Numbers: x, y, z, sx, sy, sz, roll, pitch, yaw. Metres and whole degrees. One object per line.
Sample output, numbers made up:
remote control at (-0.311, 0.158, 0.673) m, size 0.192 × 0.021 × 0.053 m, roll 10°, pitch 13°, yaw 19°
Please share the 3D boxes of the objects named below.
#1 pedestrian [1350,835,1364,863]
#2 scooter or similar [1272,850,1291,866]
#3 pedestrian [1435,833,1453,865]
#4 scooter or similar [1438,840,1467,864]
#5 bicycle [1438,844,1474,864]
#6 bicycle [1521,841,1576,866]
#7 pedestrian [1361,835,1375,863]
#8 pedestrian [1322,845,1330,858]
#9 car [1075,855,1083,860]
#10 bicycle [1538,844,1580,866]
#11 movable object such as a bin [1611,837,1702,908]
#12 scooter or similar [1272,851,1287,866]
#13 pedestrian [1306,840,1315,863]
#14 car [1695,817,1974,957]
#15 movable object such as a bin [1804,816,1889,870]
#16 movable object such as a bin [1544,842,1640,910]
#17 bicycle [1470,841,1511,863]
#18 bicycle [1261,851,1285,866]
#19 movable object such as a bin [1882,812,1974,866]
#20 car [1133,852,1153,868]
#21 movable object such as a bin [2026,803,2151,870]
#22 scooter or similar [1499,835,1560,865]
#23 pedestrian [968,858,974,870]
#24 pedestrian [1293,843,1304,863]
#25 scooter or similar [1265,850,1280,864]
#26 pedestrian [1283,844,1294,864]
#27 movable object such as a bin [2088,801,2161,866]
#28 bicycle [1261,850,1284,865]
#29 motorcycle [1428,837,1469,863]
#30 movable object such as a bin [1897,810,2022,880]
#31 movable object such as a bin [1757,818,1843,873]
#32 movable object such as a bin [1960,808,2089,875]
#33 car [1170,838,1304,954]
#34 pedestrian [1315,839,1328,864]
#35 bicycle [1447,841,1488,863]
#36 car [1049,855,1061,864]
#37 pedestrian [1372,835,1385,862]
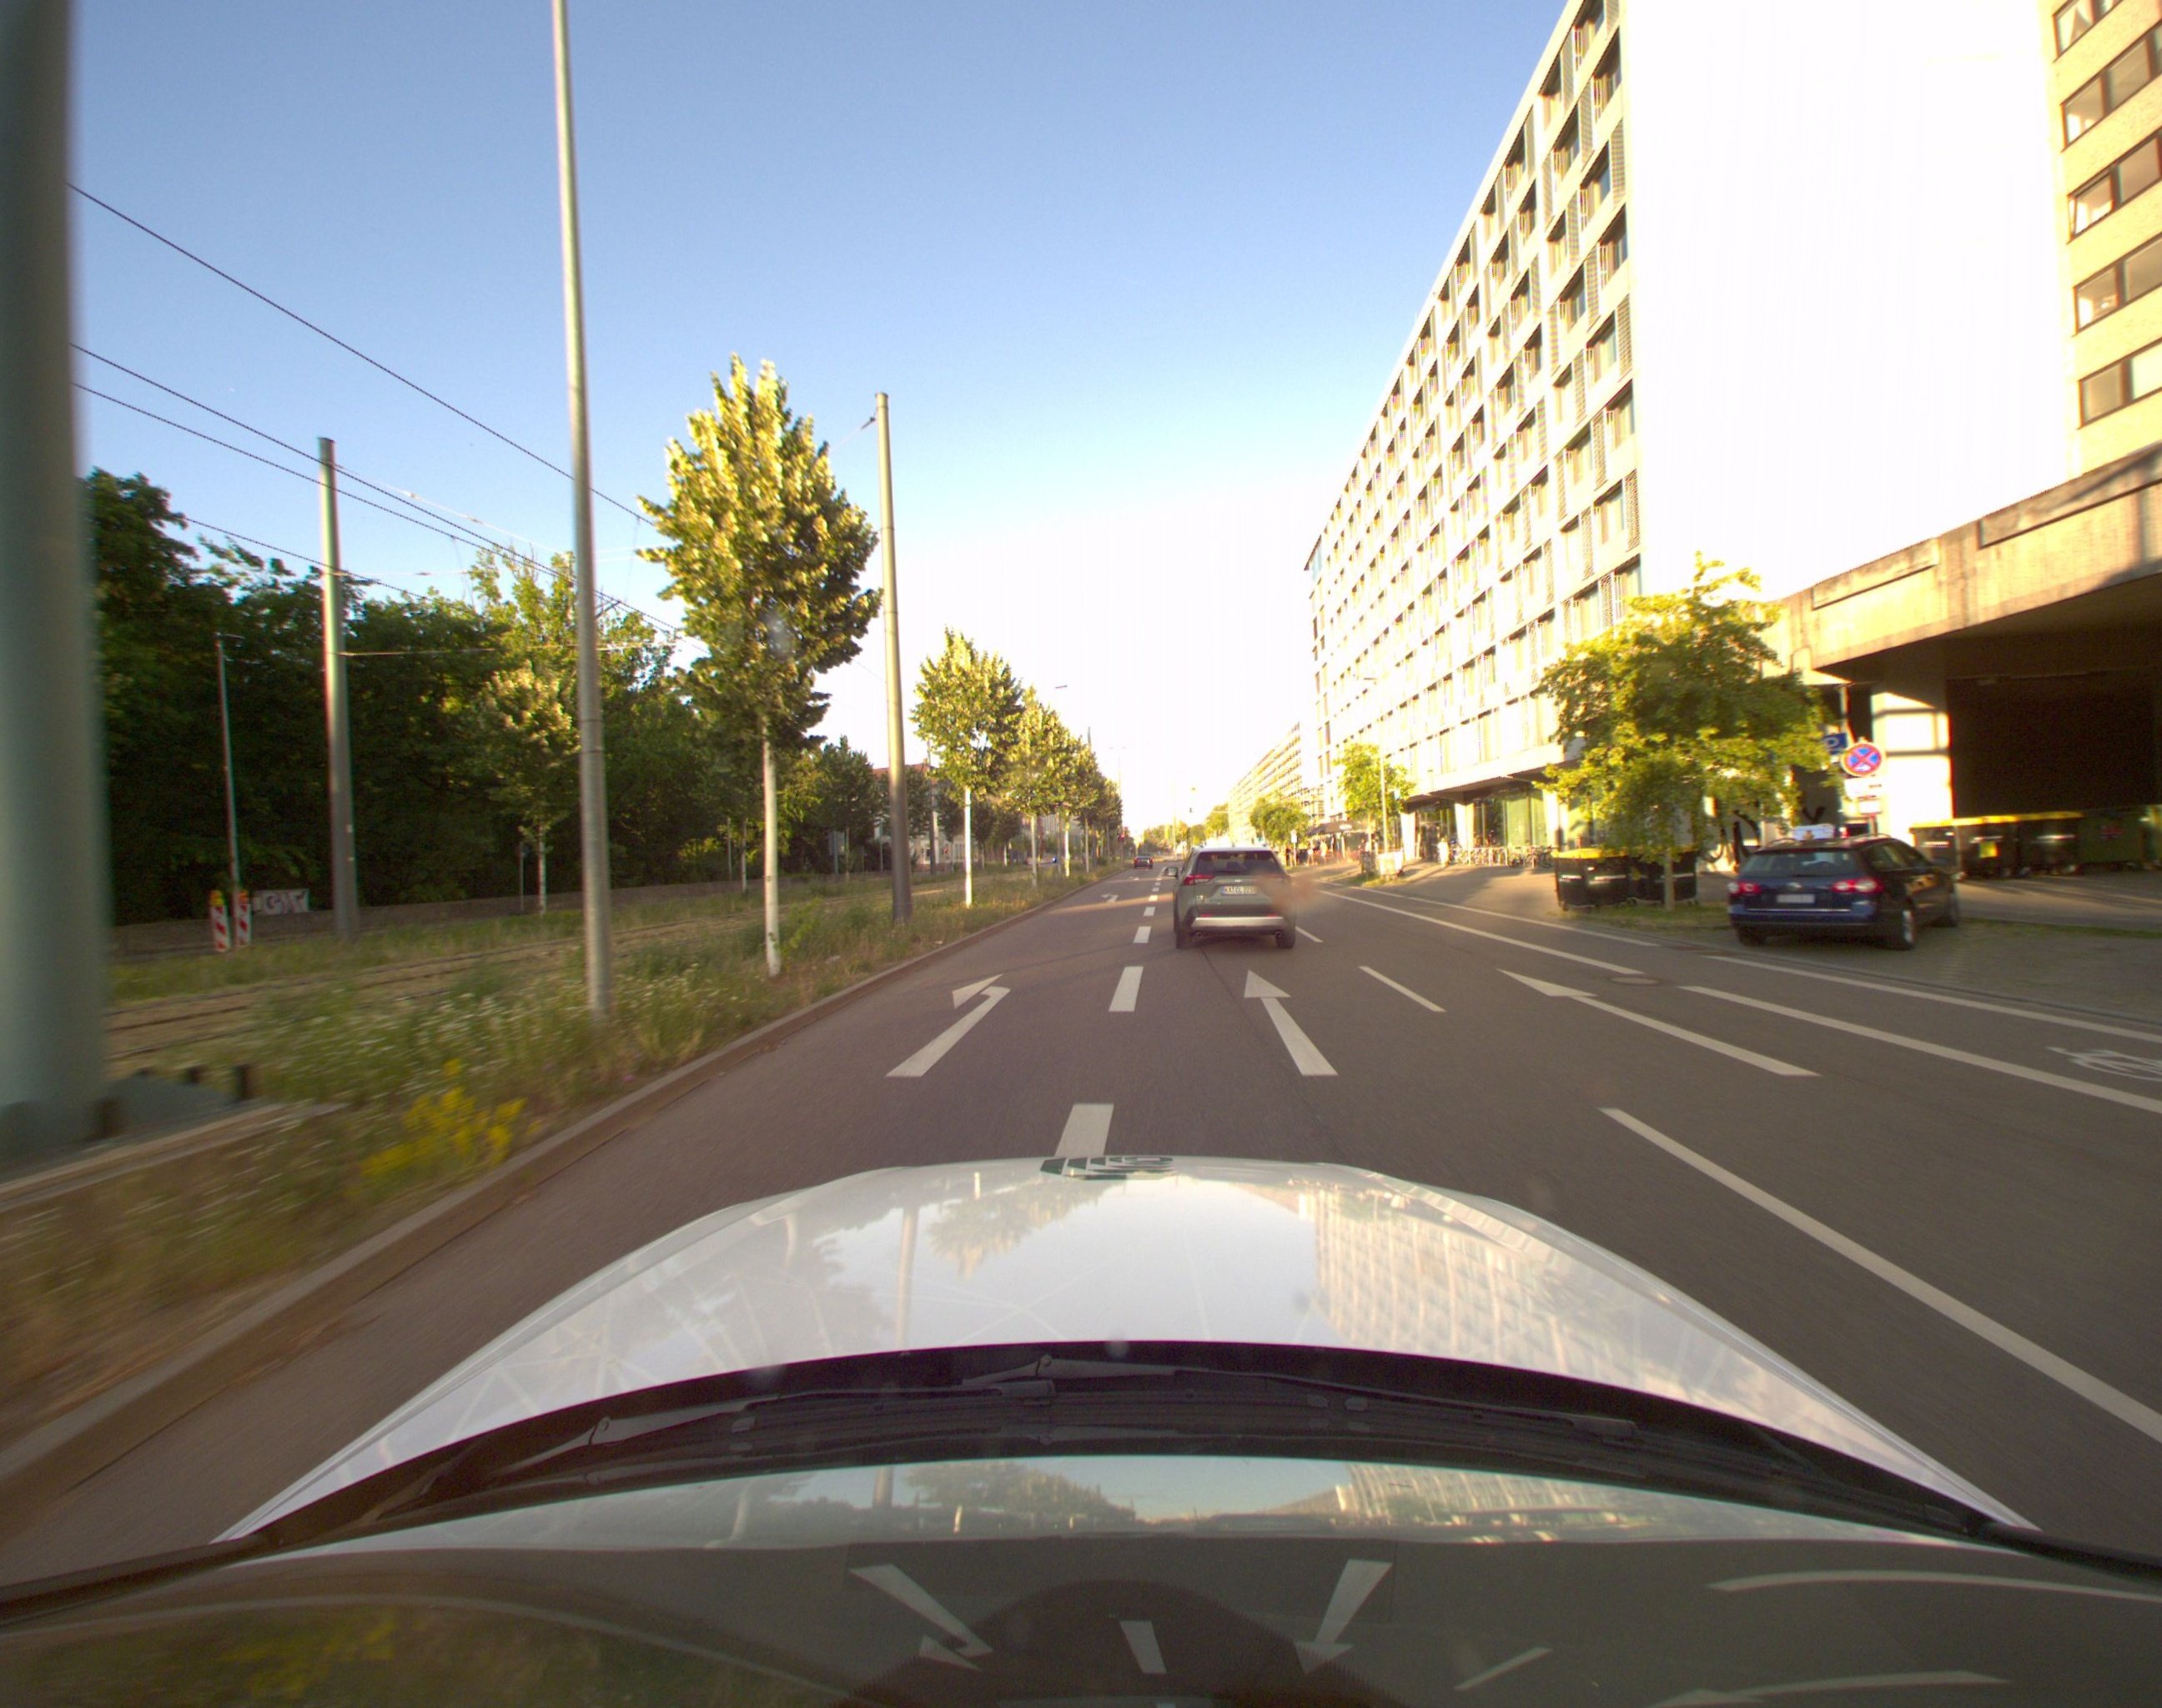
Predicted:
pedestrian at (19.023, -0.323, 56.108) m, size 0.738 × 1.849 × 0.944 m, roll -5°, pitch -1°, yaw 15°
scooter or similar at (16.700, 0.360, 67.835) m, size 1.280 × 1.218 × 0.539 m, roll -5°, pitch -1°, yaw 29°
pedestrian at (18.879, -0.279, 42.387) m, size 0.574 × 1.619 × 0.643 m, roll -4°, pitch 0°, yaw 3°
scooter or similar at (20.538, -0.132, 45.074) m, size 1.263 × 1.233 × 0.609 m, roll -4°, pitch 0°, yaw 1°
bicycle at (21.021, 0.020, 45.673) m, size 1.693 × 0.986 × 0.551 m, roll -4°, pitch 0°, yaw 2°
bicycle at (20.597, -0.038, 35.902) m, size 2.009 × 0.957 × 0.620 m, roll -4°, pitch 0°, yaw -1°
pedestrian at (19.712, -0.351, 55.958) m, size 0.751 × 1.824 × 0.944 m, roll -4°, pitch -1°, yaw 15°
pedestrian at (26.421, -0.285, 87.852) m, size 0.739 × 1.319 × 0.718 m, roll -5°, pitch -1°, yaw 18°
car at (-0.617, 1.030, 223.634) m, size 1.648 × 1.431 × 3.903 m, roll 0°, pitch 0°, yaw 8°
bicycle at (20.079, 0.042, 34.212) m, size 1.415 × 0.891 × 0.458 m, roll -3°, pitch 0°, yaw 5°
movable object such as a bin at (12.090, 0.370, 17.150) m, size 1.010 × 1.347 × 1.161 m, roll -5°, pitch 0°, yaw 1°
scooter or similar at (16.850, 0.402, 69.228) m, size 1.118 × 1.213 × 0.534 m, roll -5°, pitch -2°, yaw 21°
pedestrian at (18.080, -0.175, 64.132) m, size 0.572 × 1.786 × 0.832 m, roll -4°, pitch -2°, yaw 13°
car at (11.150, 0.386, 11.955) m, size 4.689 × 1.508 × 1.919 m, roll -4°, pitch 0°, yaw -34°
movable object such as a bin at (20.108, -0.277, 21.432) m, size 1.069 × 1.329 × 1.204 m, roll -3°, pitch 0°, yaw 5°
movable object such as a bin at (10.730, 0.445, 17.177) m, size 1.081 × 1.301 × 1.360 m, roll -4°, pitch 0°, yaw -1°
bicycle at (20.571, -0.096, 40.896) m, size 1.693 × 0.986 × 0.551 m, roll -4°, pitch 0°, yaw 2°
bicycle at (16.803, 0.409, 71.332) m, size 1.838 × 1.182 × 0.609 m, roll -4°, pitch 0°, yaw 5°
movable object such as a bin at (22.251, -0.389, 21.426) m, size 1.069 × 1.329 × 1.285 m, roll -3°, pitch 0°, yaw 5°
car at (5.650, 0.559, 73.554) m, size 1.666 × 1.352 × 4.007 m, roll -1°, pitch 0°, yaw 6°
movable object such as a bin at (21.214, -0.359, 17.185) m, size 1.176 × 1.313 × 1.126 m, roll -3°, pitch 0°, yaw 4°
scooter or similar at (20.621, -0.186, 37.511) m, size 2.361 × 1.182 × 0.621 m, roll -4°, pitch 0°, yaw 4°
pedestrian at (-17.385, 1.575, 128.536) m, size 0.707 × 1.715 × 0.804 m, roll 0°, pitch 0°, yaw -32°
pedestrian at (18.966, -0.094, 70.938) m, size 0.682 × 1.734 × 0.762 m, roll -5°, pitch 0°, yaw 5°
scooter or similar at (17.034, 0.278, 72.459) m, size 1.205 × 1.201 × 0.480 m, roll -4°, pitch 0°, yaw 0°
pedestrian at (18.055, -0.007, 70.899) m, size 0.650 × 1.702 × 0.690 m, roll -4°, pitch 0°, yaw 5°
movable object such as a bin at (22.449, -0.439, 17.108) m, size 1.176 × 1.313 × 1.089 m, roll -3°, pitch 0°, yaw 4°
bicycle at (17.161, 0.326, 72.999) m, size 1.787 × 1.193 × 0.568 m, roll -4°, pitch 0°, yaw 1°
motorcycle at (21.339, -0.227, 47.328) m, size 2.111 × 1.386 × 0.670 m, roll -4°, pitch 0°, yaw -9°
movable object such as a bin at (18.483, -0.190, 17.184) m, size 1.176 × 1.323 × 1.268 m, roll -5°, pitch 0°, yaw 4°
movable object such as a bin at (18.950, -0.221, 21.506) m, size 1.099 × 1.329 × 1.285 m, roll -4°, pitch 0°, yaw 5°
movable object such as a bin at (19.850, -0.263, 17.176) m, size 1.176 × 1.299 × 1.306 m, roll -3°, pitch 0°, yaw 4°
car at (2.505, 0.598, 14.054) m, size 1.825 × 1.672 × 4.288 m, roll -1°, pitch 0°, yaw 5°
pedestrian at (18.781, -0.224, 63.544) m, size 0.818 × 1.888 × 0.869 m, roll -4°, pitch -2°, yaw 14°
bicycle at (20.687, -0.088, 43.589) m, size 1.877 × 1.009 × 0.566 m, roll -5°, pitch 0°, yaw 3°
car at (-5.599, 1.171, 175.166) m, size 1.983 × 1.580 × 4.132 m, roll -4°, pitch 0°, yaw 7°
pedestrian at (20.415, -0.374, 55.899) m, size 0.614 × 1.811 × 0.780 m, roll -5°, pitch -1°, yaw 15°
